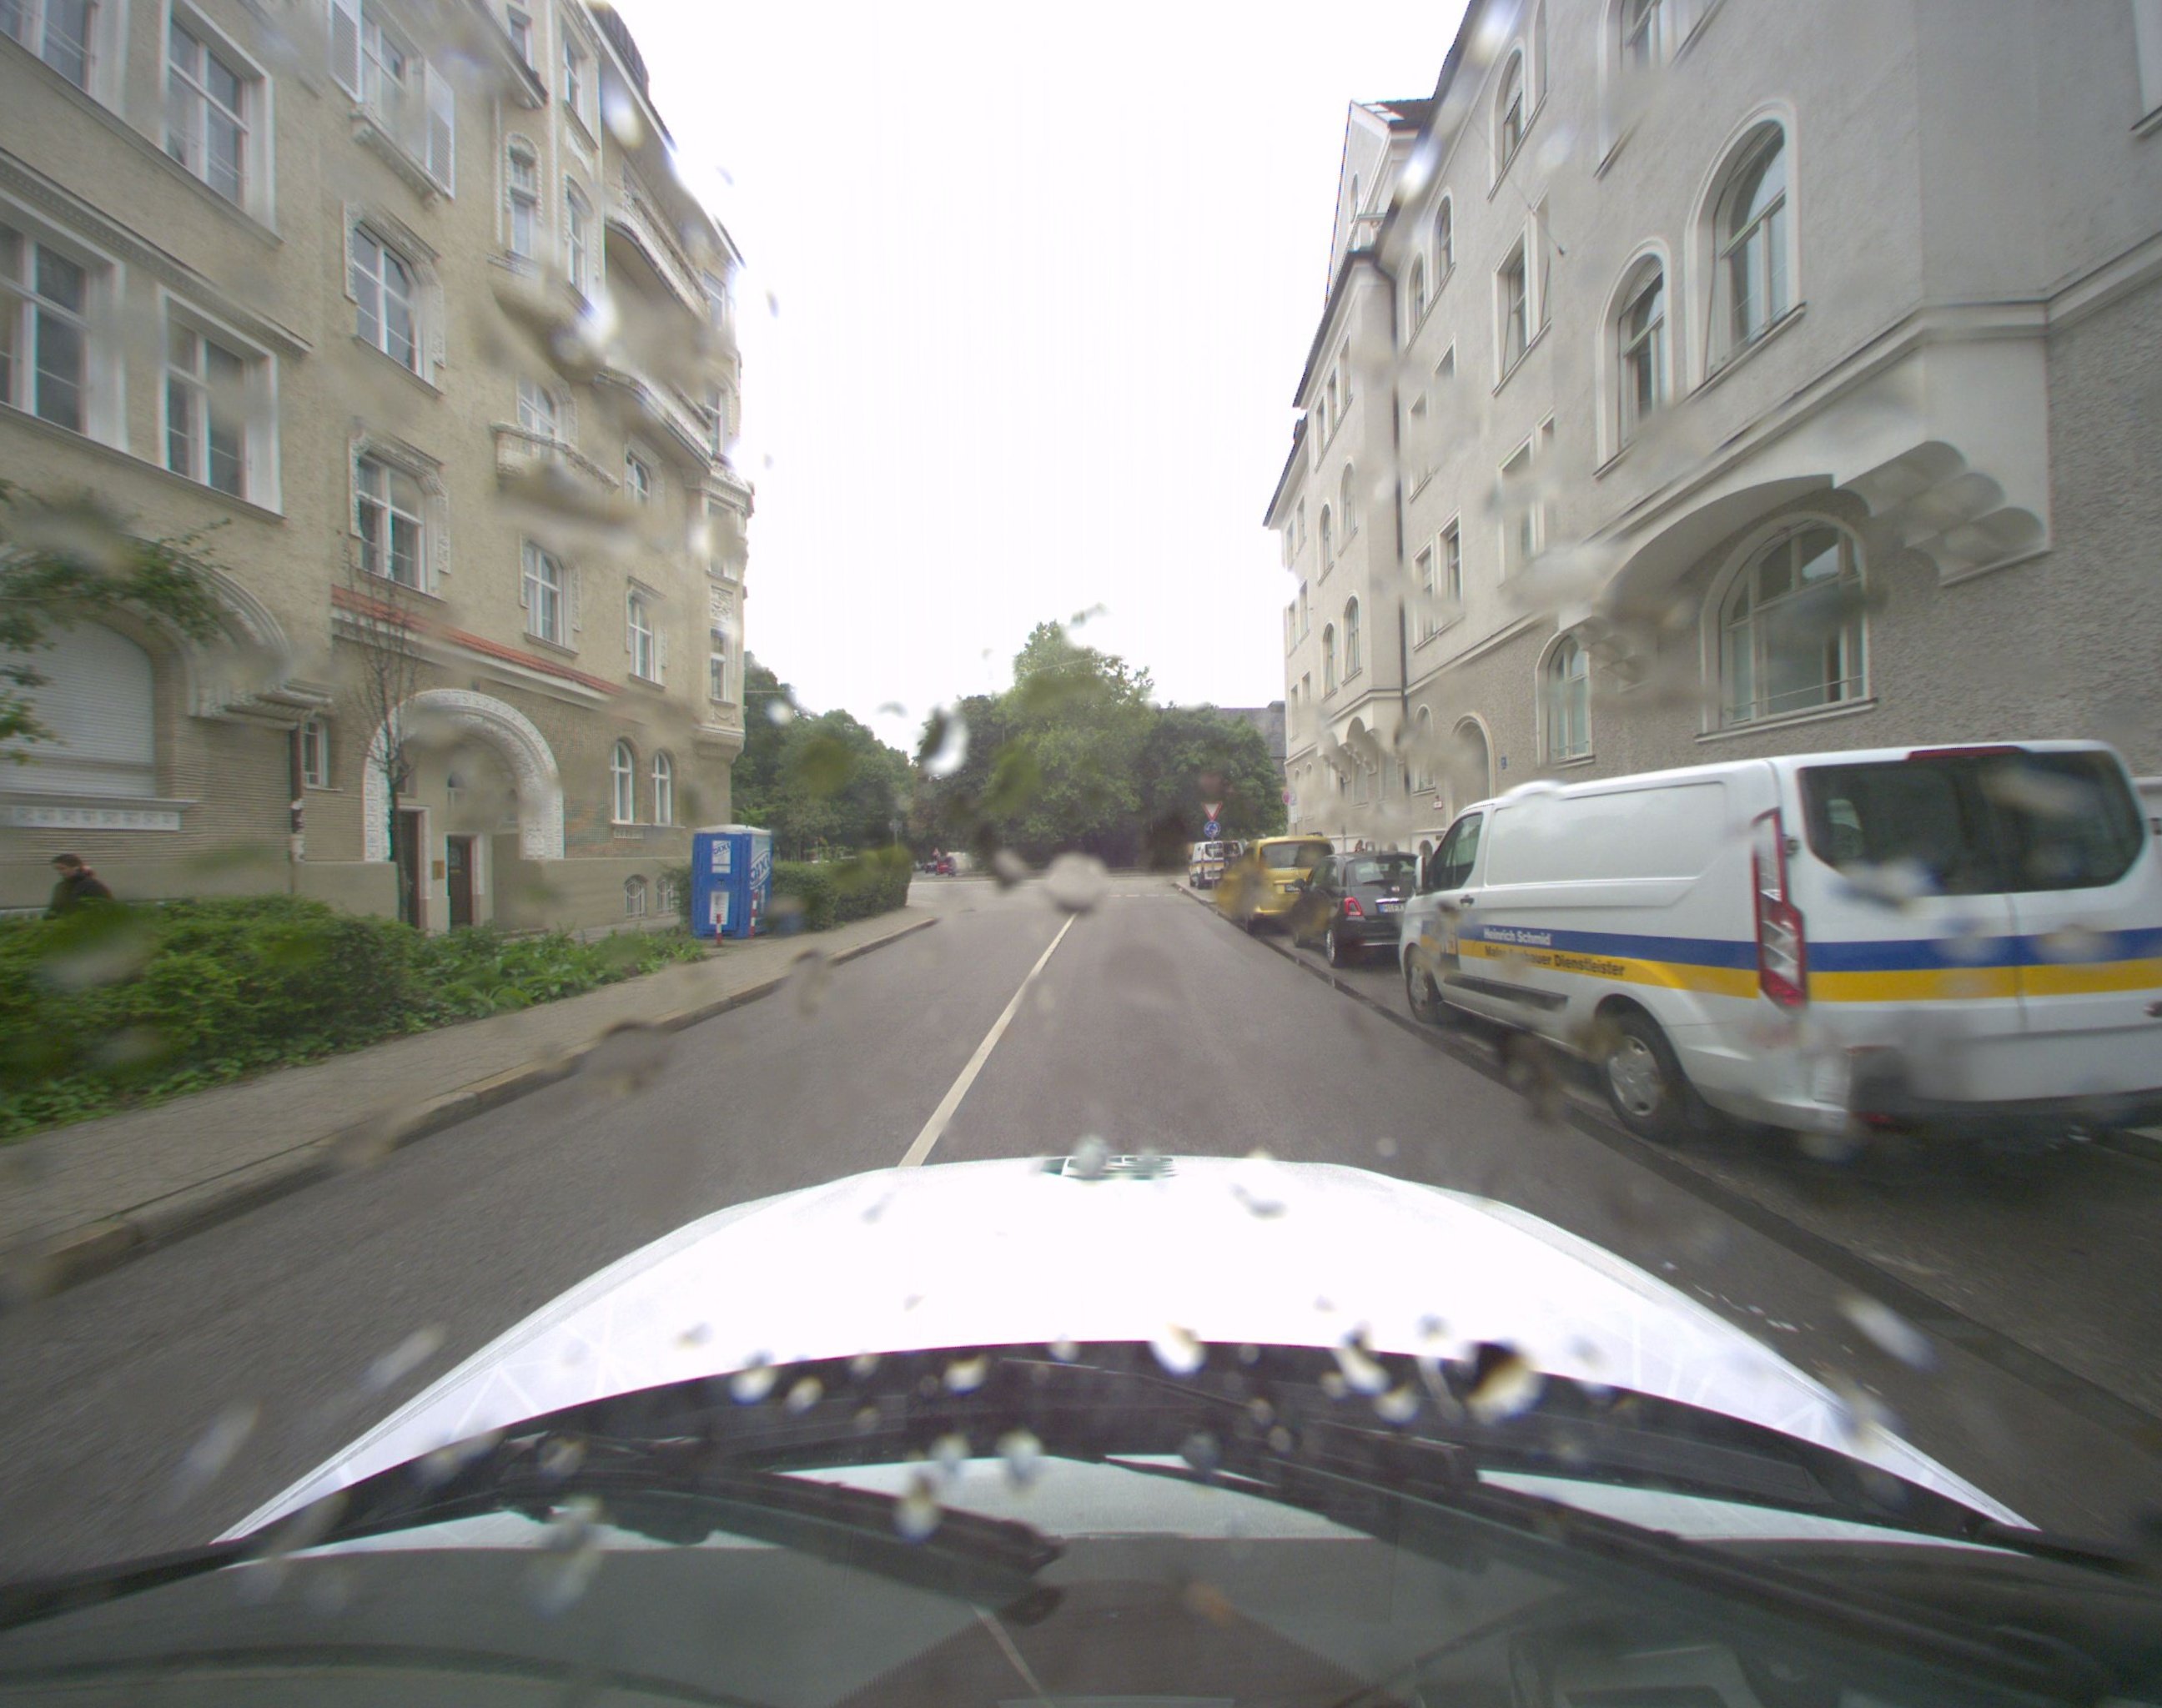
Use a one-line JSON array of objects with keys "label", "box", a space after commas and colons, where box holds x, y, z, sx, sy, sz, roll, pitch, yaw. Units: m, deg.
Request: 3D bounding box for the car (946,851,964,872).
[{"label": "car", "box": [-16.045, 0.932, 103.905, 2.040, 2.558, 5.234, -2, 0, -8]}]

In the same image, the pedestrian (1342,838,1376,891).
[{"label": "pedestrian", "box": [9.490, 0.349, 27.814, 0.697, 1.737, 0.727, -2, -4, -43]}]

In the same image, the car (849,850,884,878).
[{"label": "car", "box": [-23.739, 1.041, 90.370, 2.329, 2.922, 6.572, -1, 0, -3]}]

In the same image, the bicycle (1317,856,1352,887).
[{"label": "bicycle", "box": [9.726, 0.663, 31.286, 0.691, 1.094, 2.284, -4, 0, 3]}]

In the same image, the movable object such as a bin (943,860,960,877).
[{"label": "movable object such as a bin", "box": [-10.838, 1.211, 68.106, 1.071, 1.267, 1.090, -4, 0, 10]}]

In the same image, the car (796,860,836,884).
[{"label": "car", "box": [-21.804, 1.432, 67.236, 1.922, 1.895, 4.861, -1, 0, -4]}]

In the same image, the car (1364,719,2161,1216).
[{"label": "car", "box": [3.857, 0.446, 5.765, 1.953, 1.937, 4.993, -2, 0, 0]}]

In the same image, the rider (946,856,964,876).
[{"label": "rider", "box": [-10.700, 1.008, 68.962, 1.075, 1.667, 1.143, -4, 0, 10]}]

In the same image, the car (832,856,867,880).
[{"label": "car", "box": [-22.978, 1.343, 81.024, 2.106, 2.251, 5.190, -1, 0, -3]}]

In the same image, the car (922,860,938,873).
[{"label": "car", "box": [-18.976, 1.564, 102.327, 1.787, 1.492, 3.989, -2, 0, -8]}]

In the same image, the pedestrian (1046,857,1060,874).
[{"label": "pedestrian", "box": [-1.976, 0.851, 58.322, 0.807, 1.189, 0.921, -2, 0, 8]}]

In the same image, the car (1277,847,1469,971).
[{"label": "car", "box": [4.049, 0.678, 11.936, 1.625, 1.484, 3.787, -2, 0, 3]}]

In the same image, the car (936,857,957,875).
[{"label": "car", "box": [-14.555, 1.271, 88.226, 2.040, 1.922, 4.433, -2, 0, -8]}]

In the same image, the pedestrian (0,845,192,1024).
[{"label": "pedestrian", "box": [-10.355, 0.806, 8.567, 0.910, 1.751, 0.948, -2, 0, 1]}]

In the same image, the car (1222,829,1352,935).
[{"label": "car", "box": [4.086, 0.500, 16.949, 1.841, 1.853, 4.827, -2, 0, 5]}]

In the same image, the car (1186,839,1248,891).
[{"label": "car", "box": [5.748, 0.429, 34.997, 1.909, 1.962, 4.928, -3, 0, 1]}]

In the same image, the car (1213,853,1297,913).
[{"label": "car", "box": [4.674, 0.717, 22.367, 1.657, 1.457, 3.899, -2, 0, 3]}]

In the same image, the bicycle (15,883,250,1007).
[{"label": "bicycle", "box": [-11.220, 1.027, 9.739, 0.742, 1.276, 1.704, -1, 0, 3]}]
